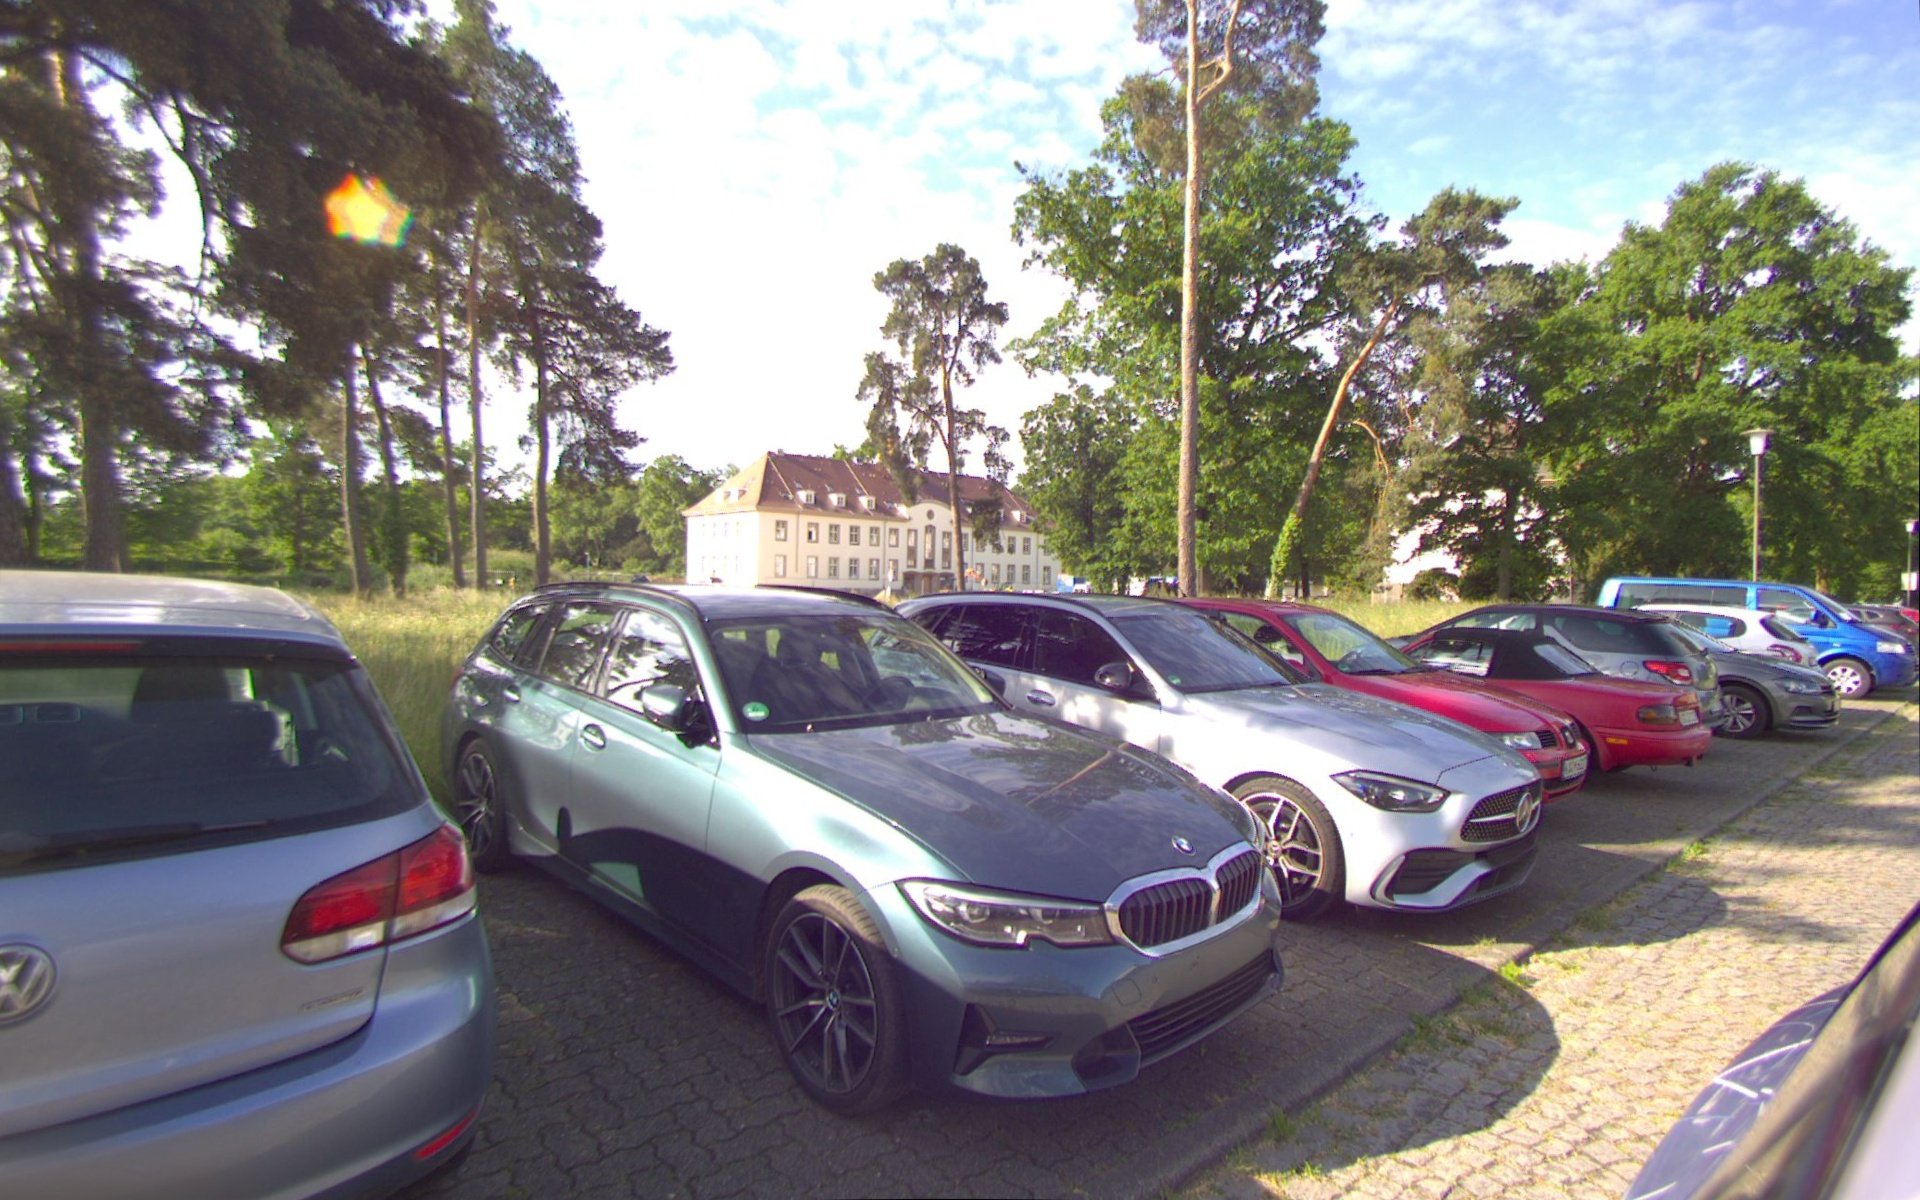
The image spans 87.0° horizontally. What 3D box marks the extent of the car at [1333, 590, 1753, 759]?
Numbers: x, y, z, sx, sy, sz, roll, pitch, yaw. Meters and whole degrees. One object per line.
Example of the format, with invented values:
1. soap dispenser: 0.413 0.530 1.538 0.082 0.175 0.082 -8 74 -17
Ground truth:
1. car: 6.331 0.678 11.315 1.522 1.509 3.775 0 1 -42

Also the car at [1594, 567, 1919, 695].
1. car: 14.627 0.437 18.537 1.964 2.039 4.725 0 1 -40

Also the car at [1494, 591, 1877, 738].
1. car: 8.920 0.676 12.754 1.478 1.509 3.629 0 1 -31

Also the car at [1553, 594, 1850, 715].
1. car: 10.786 0.704 14.880 1.423 1.509 3.264 0 1 -39

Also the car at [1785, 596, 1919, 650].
1. car: 28.458 0.687 31.524 1.725 1.537 3.997 0 1 -38

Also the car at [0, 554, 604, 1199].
1. car: -2.740 0.612 2.928 1.839 1.478 4.022 0 2 -42

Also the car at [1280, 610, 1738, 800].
1. car: 4.761 0.786 9.106 1.395 1.271 3.353 0 1 -42

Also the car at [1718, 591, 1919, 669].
1. car: 21.061 0.664 24.517 1.725 1.660 3.997 0 1 -38

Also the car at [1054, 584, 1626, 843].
1. car: 2.746 0.650 8.014 1.632 1.410 3.915 0 2 -42

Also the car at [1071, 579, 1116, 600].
1. car: 13.705 -1.078 103.939 4.689 2.039 1.997 0 1 -41

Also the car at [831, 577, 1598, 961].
1. car: 1.203 0.655 6.373 1.795 1.419 4.419 0 3 -42

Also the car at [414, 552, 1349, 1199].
1. car: -0.818 0.597 4.635 1.796 1.535 4.499 0 2 -44

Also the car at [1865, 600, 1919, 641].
1. car: 39.630 0.824 41.104 1.724 1.635 3.997 -1 -1 -37

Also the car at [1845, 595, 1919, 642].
1. car: 36.062 0.683 38.035 1.725 1.763 3.996 0 -1 -38

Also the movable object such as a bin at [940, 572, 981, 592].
1. movable object such as a bin: 0.088 -2.138 121.363 1.994 2.352 4.906 2 1 45
